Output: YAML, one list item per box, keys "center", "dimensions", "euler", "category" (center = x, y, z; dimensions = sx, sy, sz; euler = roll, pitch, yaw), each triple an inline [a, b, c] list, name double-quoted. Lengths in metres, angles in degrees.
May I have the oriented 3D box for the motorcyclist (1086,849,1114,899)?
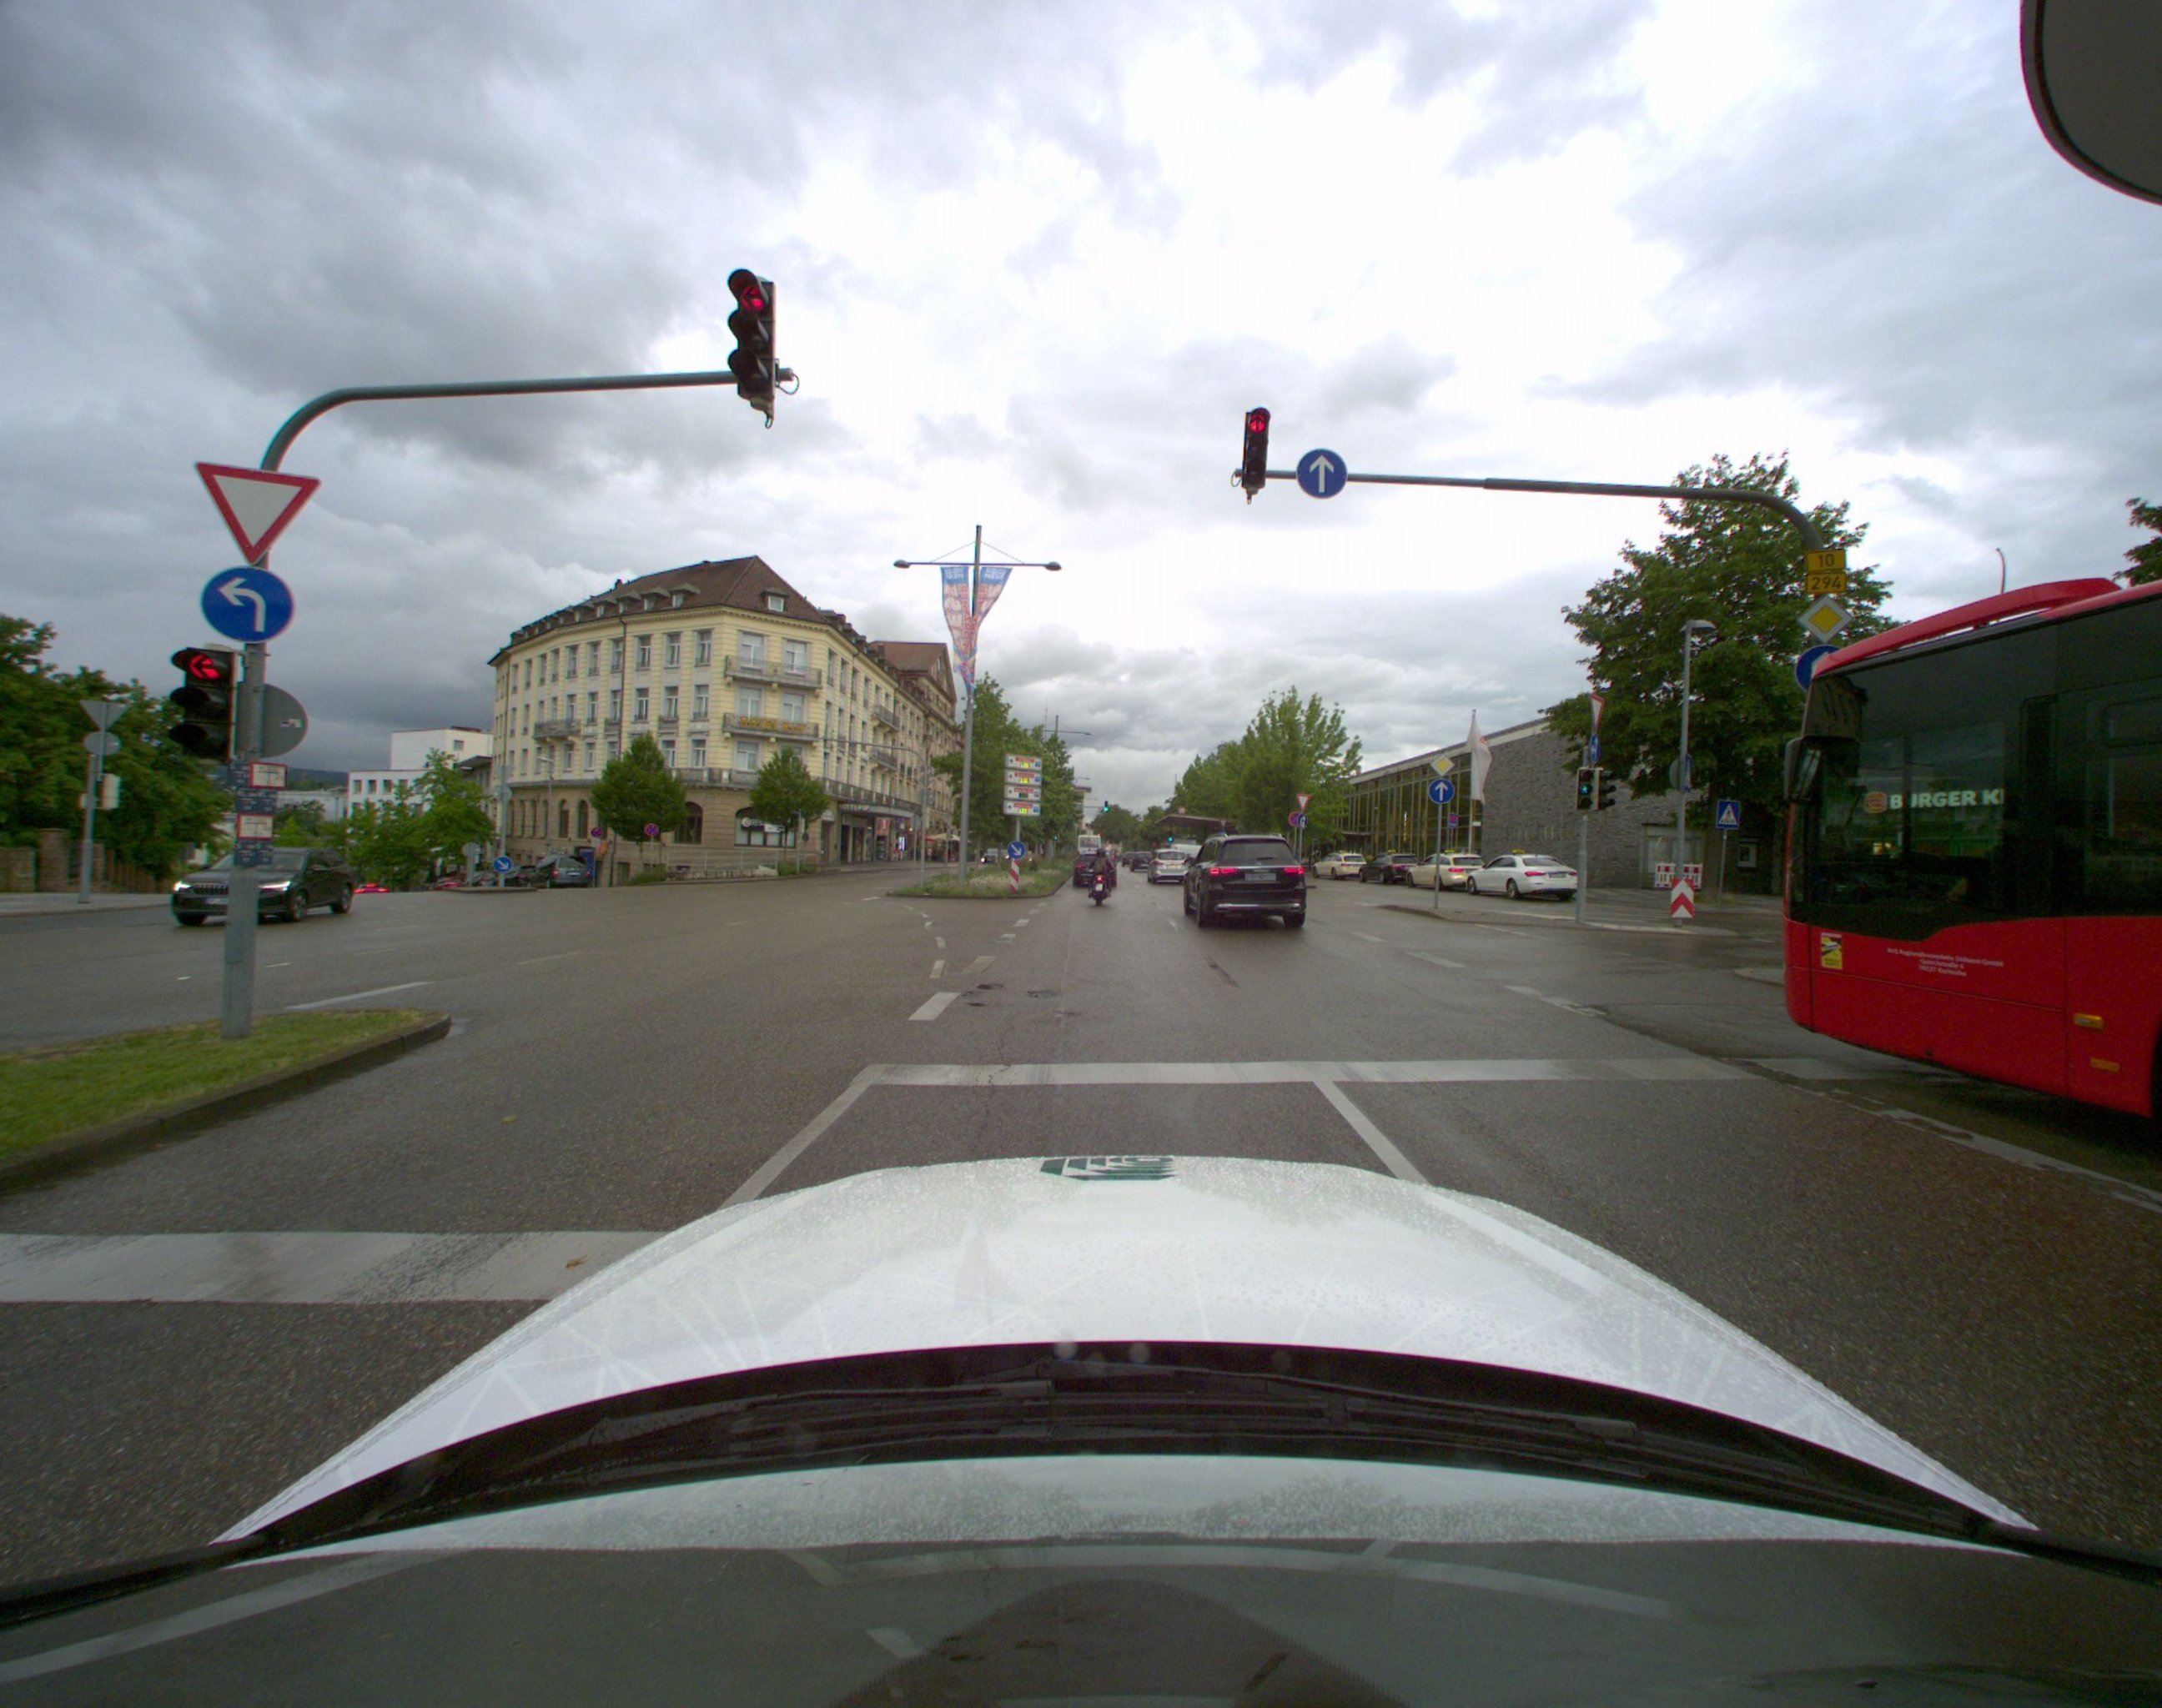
- center: [0.523, 0.537, 22.333]
  dimensions: [0.761, 1.331, 0.867]
  euler: [0, 0, 2]
  category: "motorcyclist"

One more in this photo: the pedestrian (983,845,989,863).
- center: [-11.199, -0.002, 96.107]
  dimensions: [0.756, 2.013, 0.832]
  euler: [0, 0, -5]
  category: "pedestrian"

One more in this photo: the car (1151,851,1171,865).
- center: [8.502, 0.410, 86.836]
  dimensions: [1.809, 1.530, 4.001]
  euler: [0, 0, 2]
  category: "car"

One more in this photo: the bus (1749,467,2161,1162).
- center: [6.216, -0.174, 0.982]
  dimensions: [2.733, 3.174, 10.199]
  euler: [0, 0, 2]
  category: "bus"

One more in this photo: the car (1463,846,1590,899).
- center: [14.657, 0.560, 27.124]
  dimensions: [1.768, 1.589, 4.615]
  euler: [0, 0, 0]
  category: "car"

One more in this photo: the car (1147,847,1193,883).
- center: [4.054, 0.458, 37.648]
  dimensions: [1.844, 1.567, 4.002]
  euler: [0, 0, 2]
  category: "car"

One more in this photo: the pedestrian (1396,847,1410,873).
- center: [20.563, 0.380, 51.992]
  dimensions: [0.563, 1.646, 0.715]
  euler: [0, 0, -3]
  category: "pedestrian"

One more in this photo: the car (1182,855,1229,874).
- center: [12.768, 1.054, 83.606]
  dimensions: [4.348, 1.857, 1.988]
  euler: [0, 0, -18]
  category: "car"

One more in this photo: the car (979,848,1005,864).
- center: [-8.627, 0.167, 79.193]
  dimensions: [1.762, 1.530, 4.085]
  euler: [0, 0, 5]
  category: "car"

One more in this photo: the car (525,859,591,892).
- center: [-27.108, 1.089, 42.191]
  dimensions: [3.949, 1.568, 1.812]
  euler: [0, 0, 41]
  category: "car"

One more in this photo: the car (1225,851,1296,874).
- center: [11.481, 0.511, 52.419]
  dimensions: [1.788, 1.385, 4.318]
  euler: [0, 0, -39]
  category: "car"

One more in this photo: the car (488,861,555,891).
- center: [-31.982, 1.213, 46.526]
  dimensions: [3.948, 1.640, 2.013]
  euler: [-1, -1, 37]
  category: "car"

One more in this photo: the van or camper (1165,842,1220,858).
- center: [14.328, -0.452, 104.242]
  dimensions: [6.787, 2.014, 2.366]
  euler: [0, -1, -25]
  category: "van or camper"

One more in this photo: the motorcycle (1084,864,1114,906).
- center: [0.514, 0.818, 22.216]
  dimensions: [0.763, 1.077, 2.176]
  euler: [0, 0, 2]
  category: "motorcycle"

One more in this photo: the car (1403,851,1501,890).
- center: [14.790, 0.604, 32.781]
  dimensions: [1.840, 1.451, 4.666]
  euler: [0, 0, 0]
  category: "car"

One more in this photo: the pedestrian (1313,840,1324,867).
- center: [21.826, -0.051, 74.880]
  dimensions: [0.839, 2.411, 0.863]
  euler: [0, 0, 3]
  category: "pedestrian"

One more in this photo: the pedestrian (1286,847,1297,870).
- center: [18.699, 0.385, 72.290]
  dimensions: [0.767, 2.013, 0.828]
  euler: [0, 0, -1]
  category: "pedestrian"

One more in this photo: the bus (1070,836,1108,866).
- center: [0.731, -0.323, 94.661]
  dimensions: [3.750, 3.209, 15.514]
  euler: [0, 0, -2]
  category: "bus"

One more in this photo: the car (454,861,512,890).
- center: [-36.328, 1.275, 49.443]
  dimensions: [3.864, 1.640, 1.805]
  euler: [0, 0, 37]
  category: "car"

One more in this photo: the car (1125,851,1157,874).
- center: [4.308, 0.589, 58.893]
  dimensions: [1.806, 1.581, 3.899]
  euler: [0, 0, -3]
  category: "car"

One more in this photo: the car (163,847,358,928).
- center: [-18.717, 0.667, 18.870]
  dimensions: [1.832, 1.640, 4.559]
  euler: [1, 0, -27]
  category: "car"

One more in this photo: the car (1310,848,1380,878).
- center: [14.671, 0.474, 45.563]
  dimensions: [1.990, 1.600, 4.814]
  euler: [0, 0, -5]
  category: "car"

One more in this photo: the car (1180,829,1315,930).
- center: [3.289, 0.443, 17.030]
  dimensions: [1.986, 1.806, 4.691]
  euler: [0, 0, 2]
  category: "car"

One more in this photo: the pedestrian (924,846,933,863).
- center: [-13.798, 0.022, 73.769]
  dimensions: [0.666, 1.510, 0.513]
  euler: [0, 0, -37]
  category: "pedestrian"

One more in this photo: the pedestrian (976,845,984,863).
- center: [-11.493, 0.011, 92.681]
  dimensions: [0.756, 2.013, 0.832]
  euler: [0, 0, -5]
  category: "pedestrian"

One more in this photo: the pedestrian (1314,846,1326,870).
- center: [20.053, 0.353, 68.364]
  dimensions: [0.767, 2.013, 0.828]
  euler: [0, 0, -1]
  category: "pedestrian"

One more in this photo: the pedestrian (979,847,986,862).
- center: [-11.233, 0.069, 92.852]
  dimensions: [0.672, 1.701, 0.634]
  euler: [0, 0, 1]
  category: "pedestrian"

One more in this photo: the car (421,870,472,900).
- center: [-41.208, 1.975, 52.901]
  dimensions: [3.575, 1.812, 1.788]
  euler: [0, 0, 38]
  category: "car"

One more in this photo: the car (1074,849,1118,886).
- center: [0.654, 0.537, 33.875]
  dimensions: [1.702, 1.448, 4.002]
  euler: [0, 0, 2]
  category: "car"

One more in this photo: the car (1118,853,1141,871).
- center: [4.667, 0.731, 78.760]
  dimensions: [1.806, 1.642, 3.901]
  euler: [0, 0, -2]
  category: "car"

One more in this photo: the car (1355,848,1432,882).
- center: [14.882, 0.507, 39.069]
  dimensions: [1.907, 1.524, 4.741]
  euler: [0, 0, 0]
  category: "car"
